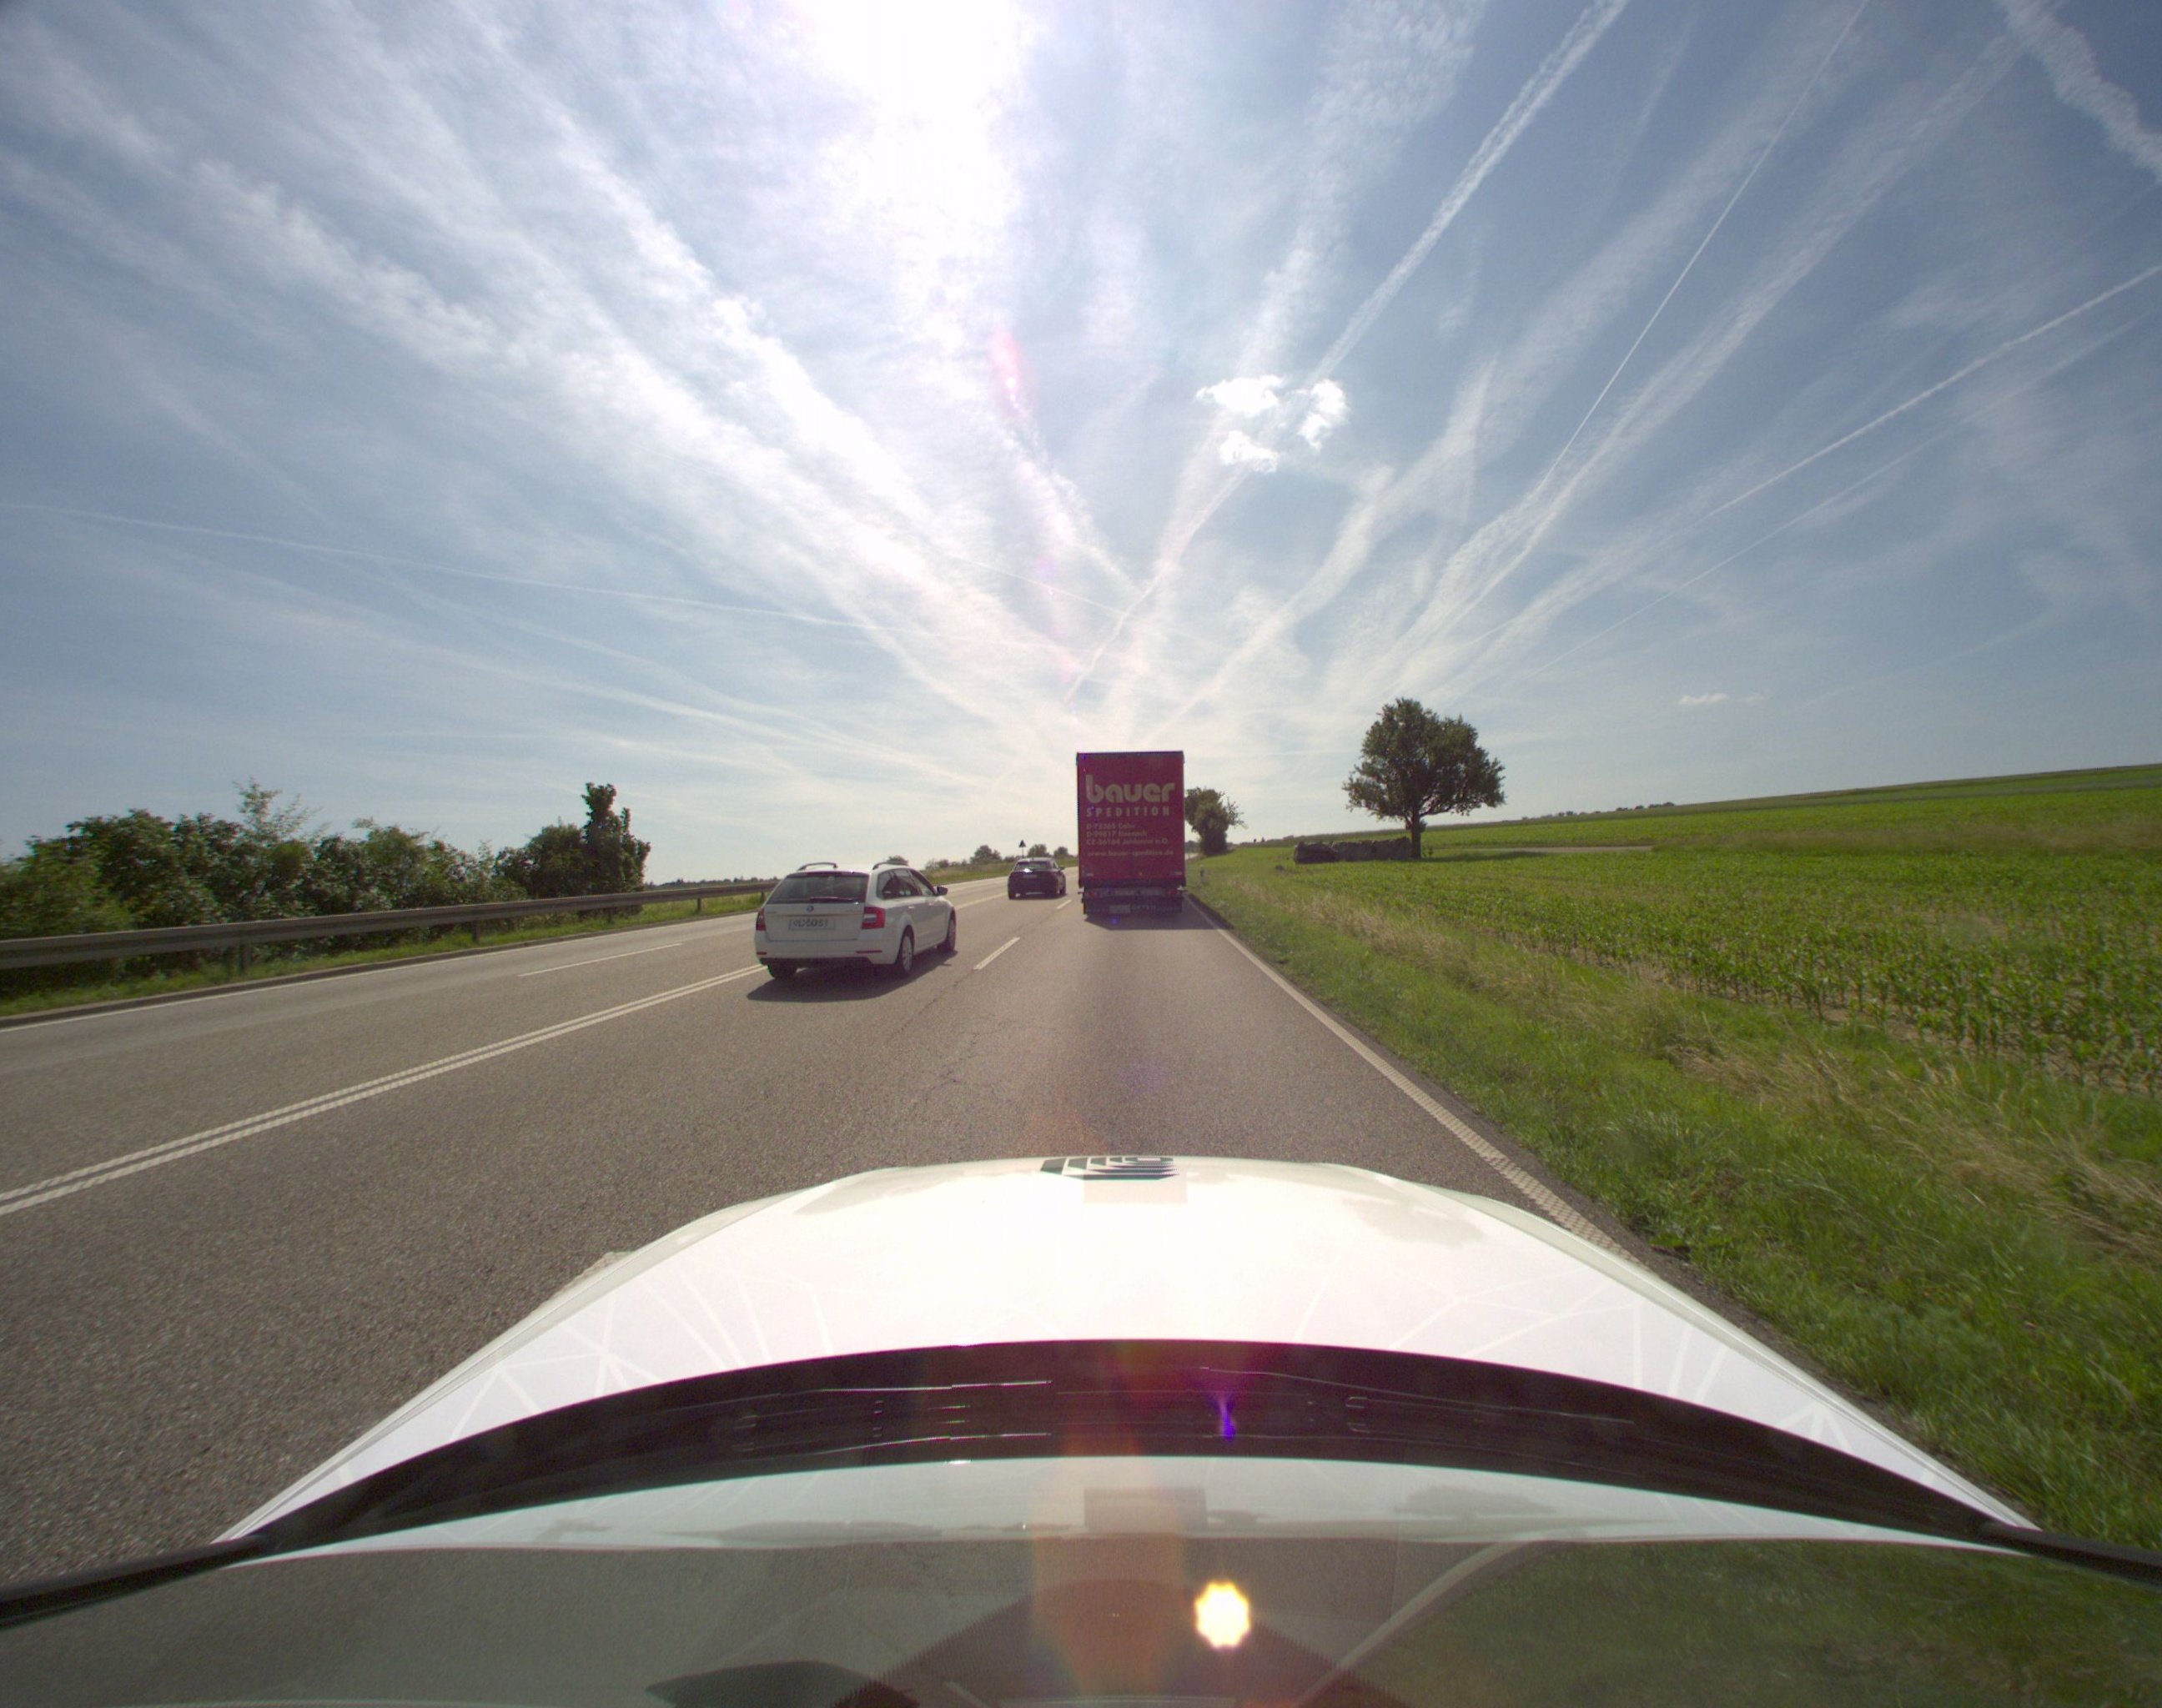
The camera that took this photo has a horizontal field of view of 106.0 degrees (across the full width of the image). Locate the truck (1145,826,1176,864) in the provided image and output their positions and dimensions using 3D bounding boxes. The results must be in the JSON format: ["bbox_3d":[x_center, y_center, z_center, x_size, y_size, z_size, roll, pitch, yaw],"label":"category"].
[{"bbox_3d":[9.273,-0.985,93.694,3.030,3.910,15.647,-2,0,7],"label":"truck"}]

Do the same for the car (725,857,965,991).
[{"bbox_3d":[-3.032,0.811,11.668,1.813,1.472,4.792,-1,0,3],"label":"car"}]

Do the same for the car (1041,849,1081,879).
[{"bbox_3d":[-1.278,0.646,54.761,1.895,1.884,5.441,-2,0,6],"label":"car"}]

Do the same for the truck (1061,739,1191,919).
[{"bbox_3d":[1.523,-0.565,27.362,2.994,4.180,16.728,-1,0,3],"label":"truck"}]

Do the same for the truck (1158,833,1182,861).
[{"bbox_3d":[13.980,-1.038,127.035,3.030,3.910,18.439,-2,0,8],"label":"truck"}]

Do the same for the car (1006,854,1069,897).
[{"bbox_3d":[-1.549,0.764,30.622,1.697,1.472,4.817,-1,0,5],"label":"car"}]
